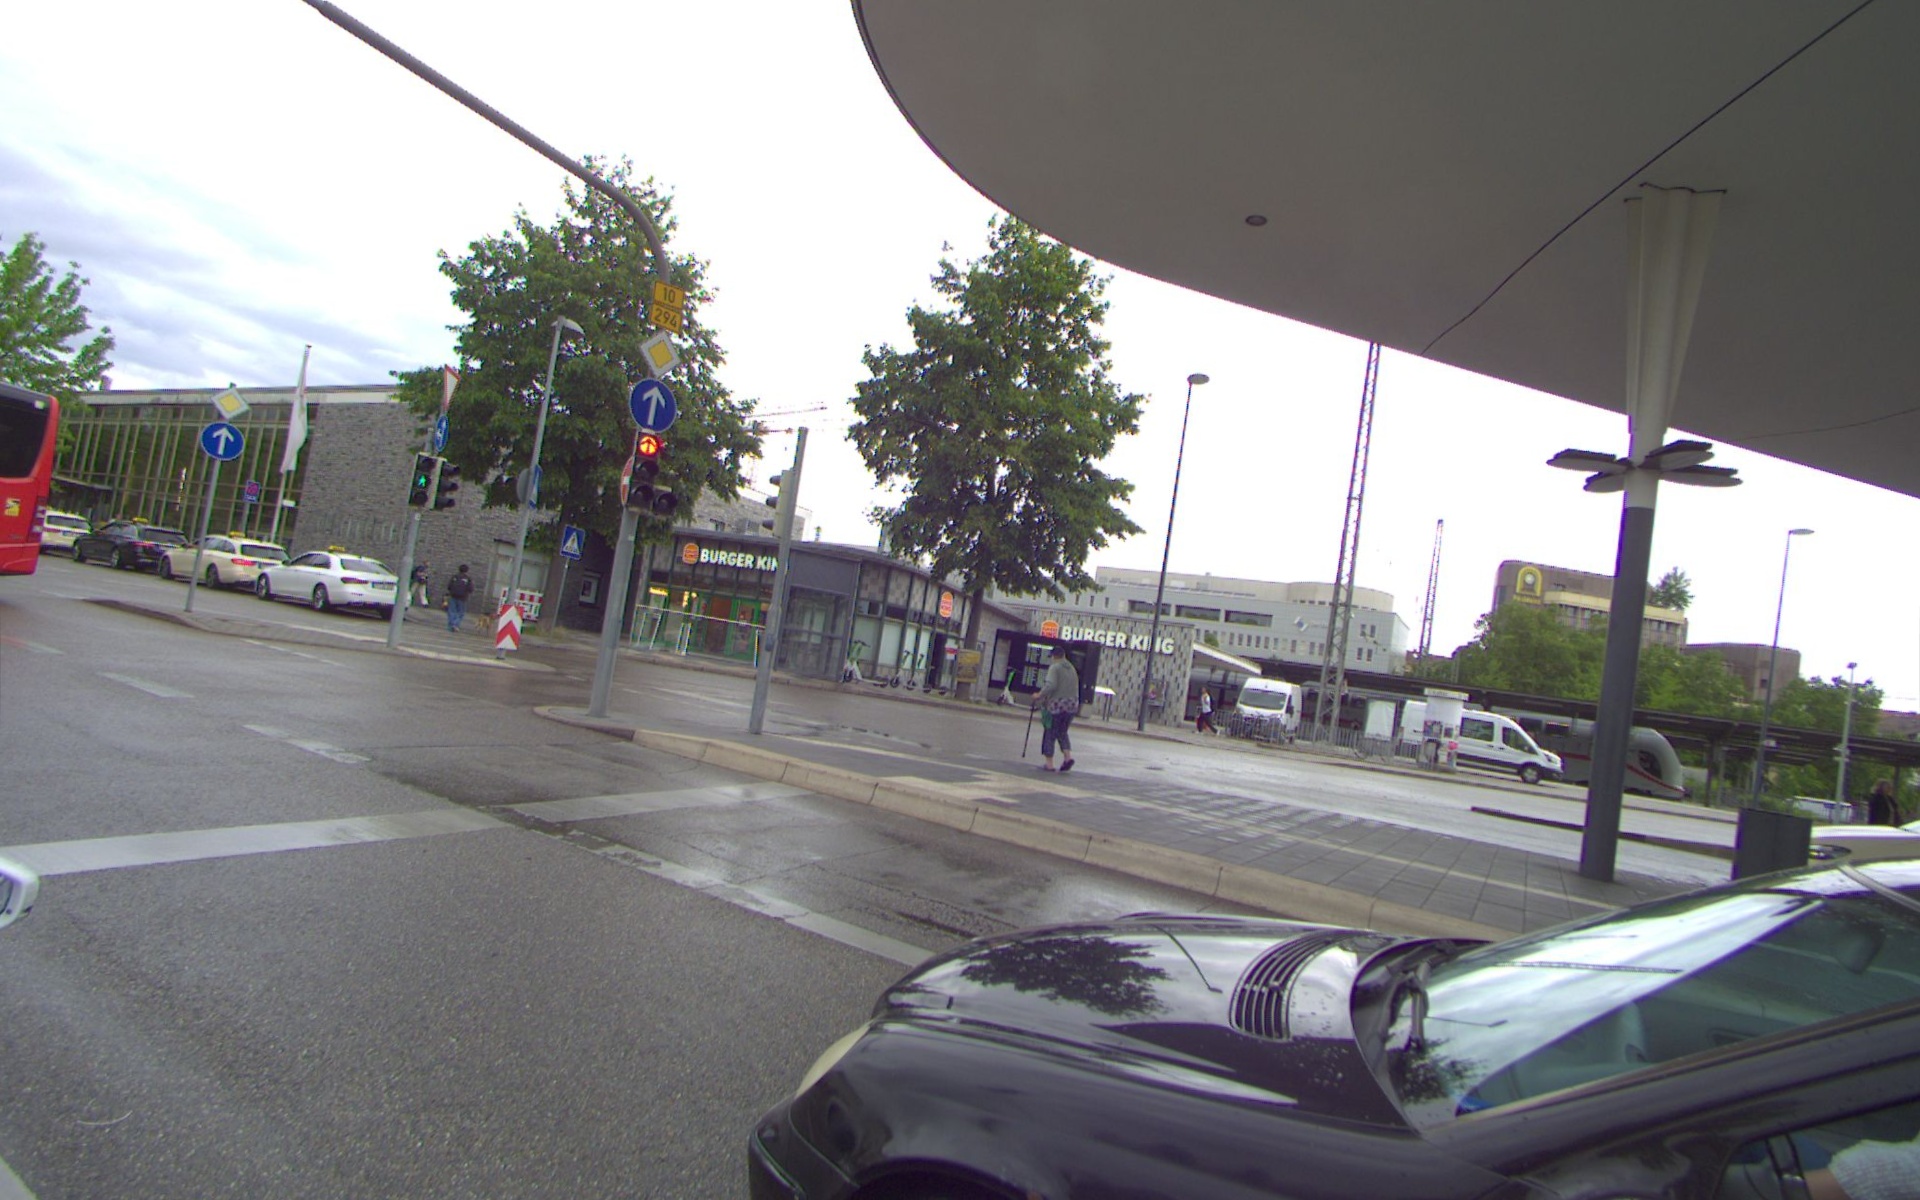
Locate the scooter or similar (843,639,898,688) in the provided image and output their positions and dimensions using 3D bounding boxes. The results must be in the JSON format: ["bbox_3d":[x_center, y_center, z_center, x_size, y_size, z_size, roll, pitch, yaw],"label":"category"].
[{"bbox_3d":[-2.469,1.753,27.765,1.309,1.167,0.465,9,-2,-21],"label":"scooter or similar"}]

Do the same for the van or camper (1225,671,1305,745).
[{"bbox_3d":[12.531,4.407,41.018,2.072,2.491,5.975,7,-3,25],"label":"van or camper"}]

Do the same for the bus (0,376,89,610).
[{"bbox_3d":[-17.383,-2.015,15.452,7.975,3.210,2.752,7,-2,25],"label":"bus"}]

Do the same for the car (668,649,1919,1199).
[{"bbox_3d":[1.786,1.152,1.502,4.362,1.493,1.754,5,-8,31],"label":"car"}]

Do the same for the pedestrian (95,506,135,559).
[{"bbox_3d":[-34.810,-2.784,41.456,0.906,2.036,0.813,7,-2,32],"label":"pedestrian"}]

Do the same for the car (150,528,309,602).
[{"bbox_3d":[-20.639,-1.005,28.386,4.588,1.468,1.851,7,-2,30],"label":"car"}]

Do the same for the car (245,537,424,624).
[{"bbox_3d":[-15.861,-0.508,25.460,4.538,1.608,1.779,7,-2,30],"label":"car"}]

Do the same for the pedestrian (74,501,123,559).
[{"bbox_3d":[-32.870,-2.662,38.403,0.904,2.036,0.815,8,-1,8],"label":"pedestrian"}]

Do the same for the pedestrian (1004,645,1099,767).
[{"bbox_3d":[1.145,1.315,12.508,0.753,1.374,0.738,7,-3,31],"label":"pedestrian"}]

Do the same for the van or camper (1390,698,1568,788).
[{"bbox_3d":[20.330,5.543,39.550,5.873,2.491,2.108,7,-2,32],"label":"van or camper"}]

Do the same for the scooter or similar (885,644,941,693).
[{"bbox_3d":[-1.420,2.059,30.352,1.503,1.284,0.467,8,-1,-4],"label":"scooter or similar"}]

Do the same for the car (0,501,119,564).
[{"bbox_3d":[-31.441,-2.375,34.538,4.736,1.618,2.000,7,-2,25],"label":"car"}]

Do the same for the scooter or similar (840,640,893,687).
[{"bbox_3d":[-2.637,1.803,28.423,1.313,1.157,0.464,9,-2,-31],"label":"scooter or similar"}]

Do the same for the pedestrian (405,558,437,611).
[{"bbox_3d":[-18.178,-0.519,33.925,0.556,1.652,0.562,7,-2,30],"label":"pedestrian"}]

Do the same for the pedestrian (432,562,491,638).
[{"bbox_3d":[-11.961,0.008,24.153,0.700,1.693,0.809,7,-2,31],"label":"pedestrian"}]

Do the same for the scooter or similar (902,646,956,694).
[{"bbox_3d":[-0.957,2.157,31.177,1.503,1.284,0.467,8,-1,-4],"label":"scooter or similar"}]

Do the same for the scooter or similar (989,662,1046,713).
[{"bbox_3d":[1.704,2.591,29.779,1.503,1.284,0.467,8,-1,-4],"label":"scooter or similar"}]

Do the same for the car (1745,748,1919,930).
[{"bbox_3d":[11.226,2.789,10.570,4.360,1.665,1.807,7,-5,32],"label":"car"}]

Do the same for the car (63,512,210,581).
[{"bbox_3d":[-25.846,-1.700,31.528,4.661,1.542,1.918,7,-2,30],"label":"car"}]

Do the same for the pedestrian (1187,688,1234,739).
[{"bbox_3d":[8.727,3.949,35.060,0.910,1.552,1.096,9,-2,-36],"label":"pedestrian"}]
